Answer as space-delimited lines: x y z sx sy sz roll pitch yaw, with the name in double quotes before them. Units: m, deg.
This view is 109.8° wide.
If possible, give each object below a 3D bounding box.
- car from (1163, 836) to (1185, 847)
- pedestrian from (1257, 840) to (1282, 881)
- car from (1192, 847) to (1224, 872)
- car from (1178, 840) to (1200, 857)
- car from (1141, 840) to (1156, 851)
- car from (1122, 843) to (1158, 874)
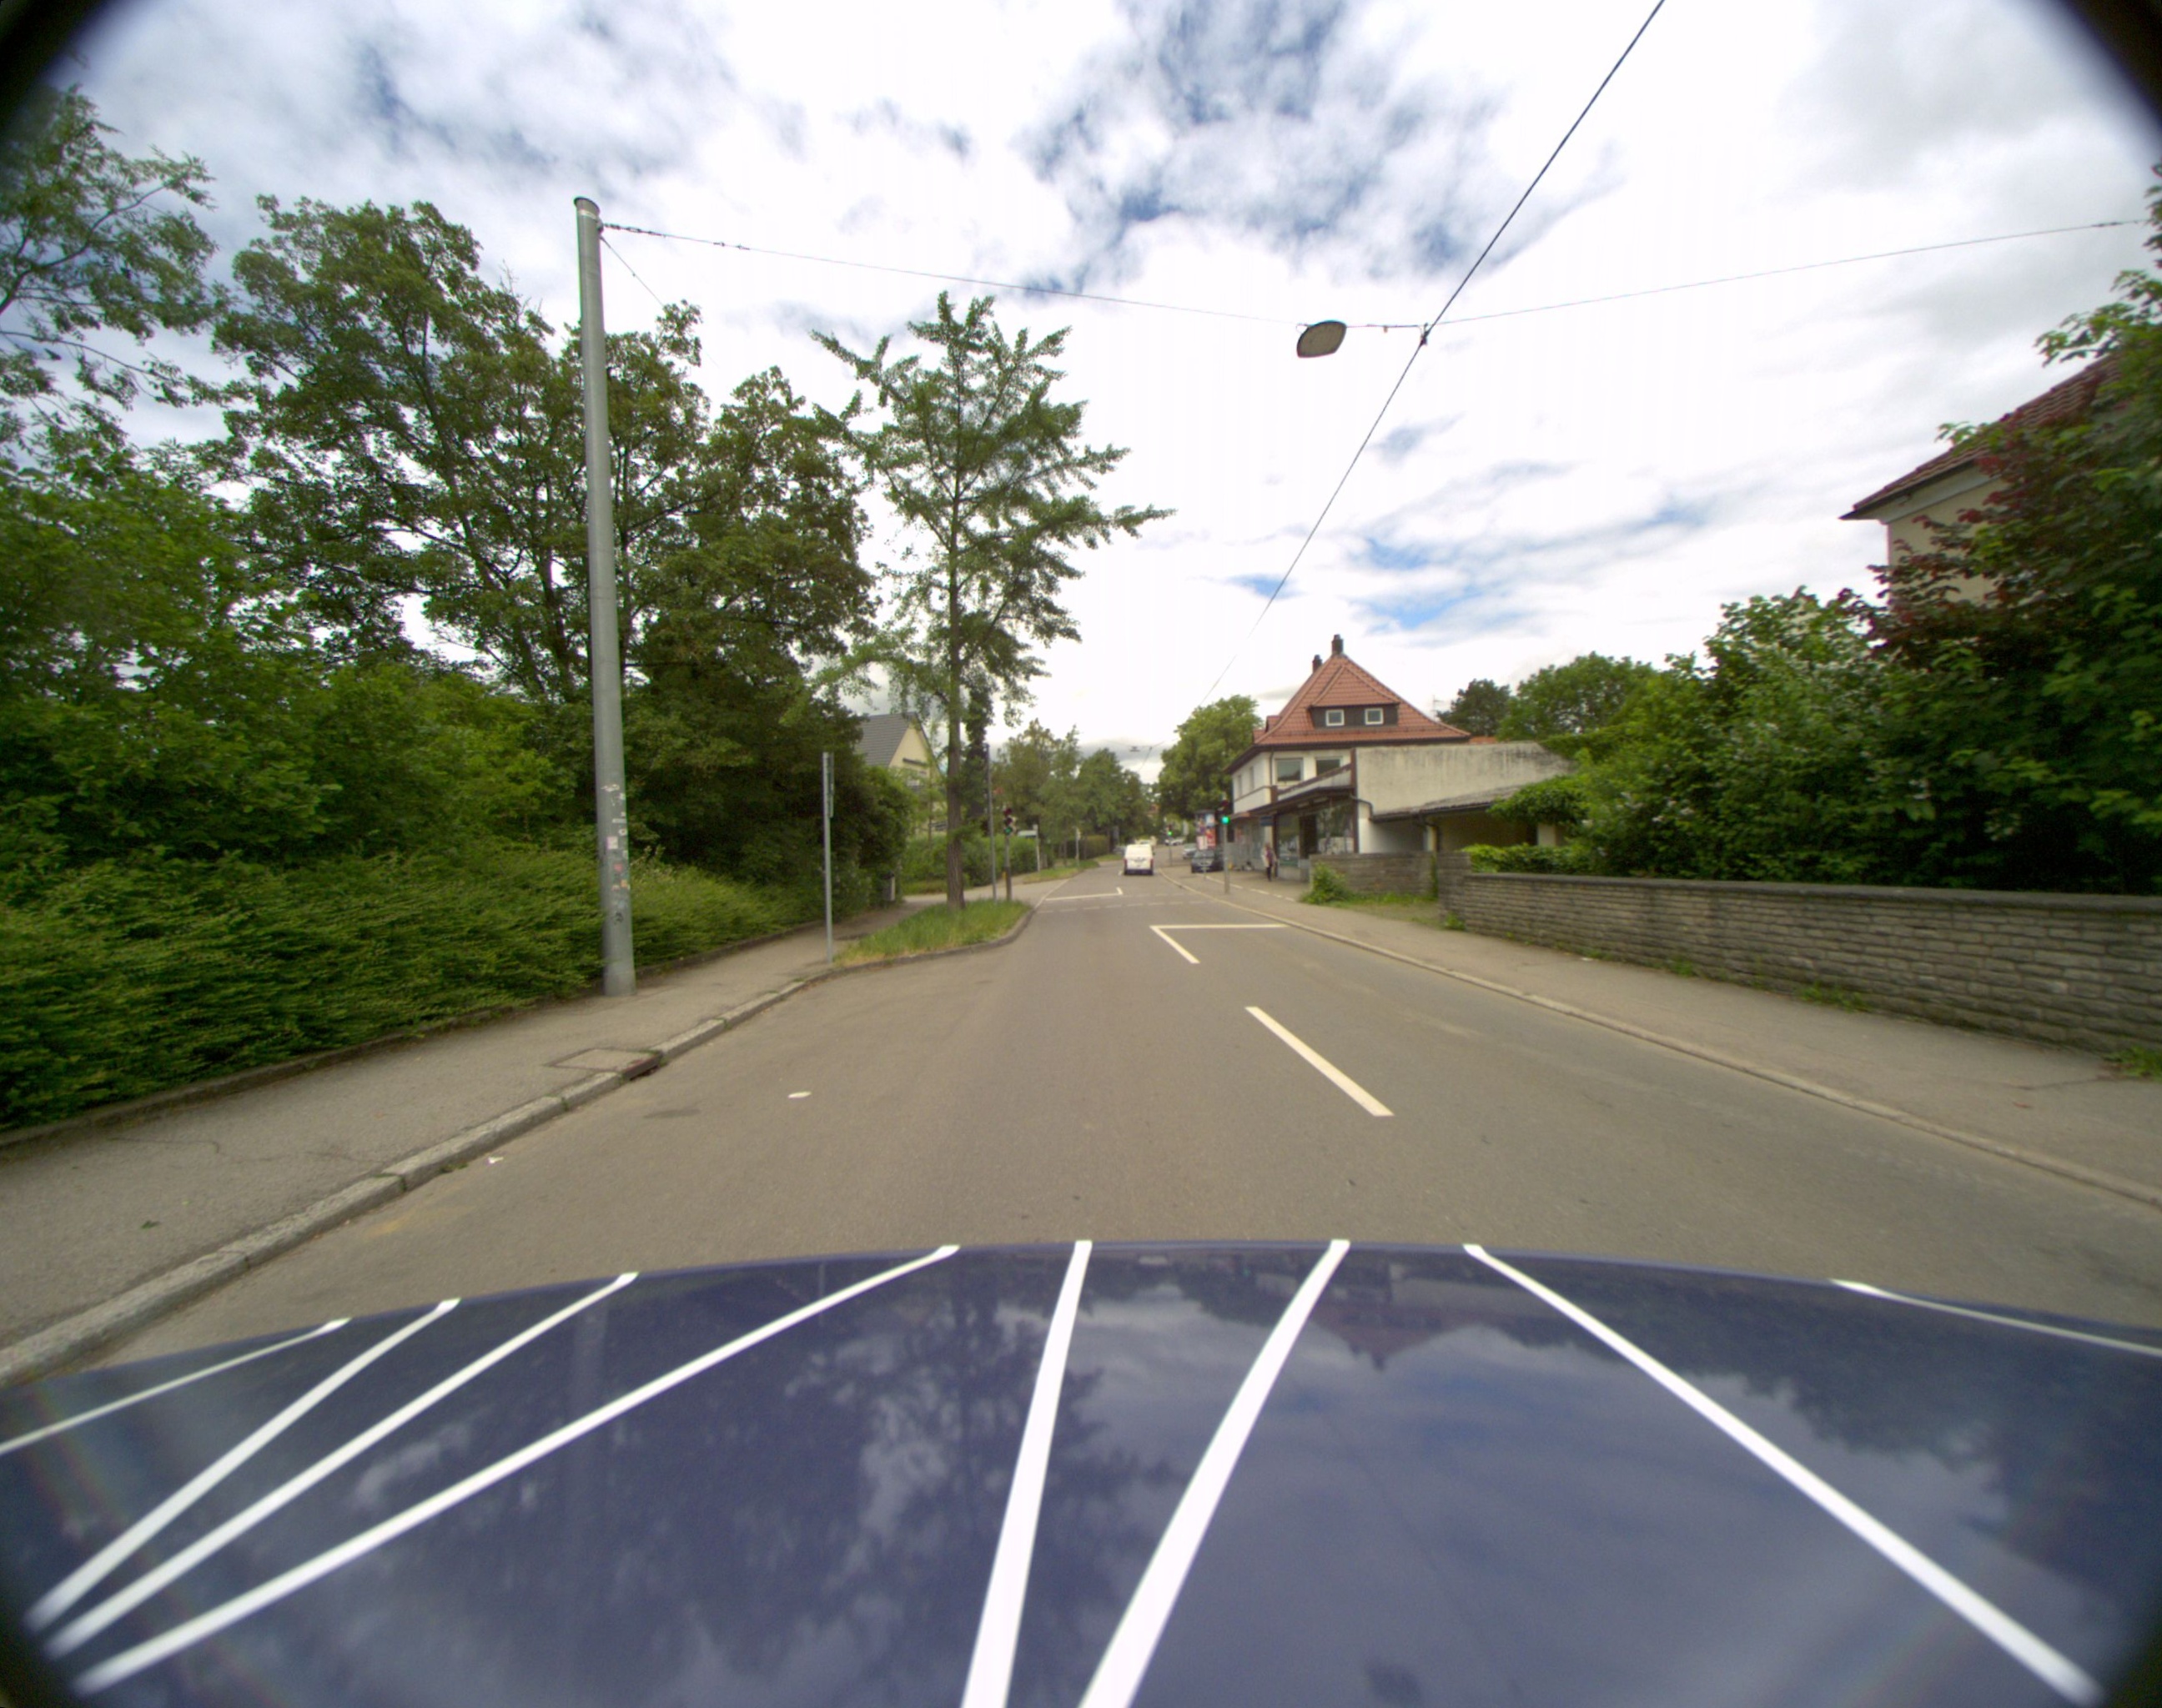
"car" 18.081 -2.426 147.661 3.993 1.729 2.001 -3 1 13
"pedestrian" 8.212 0.283 33.119 0.822 1.735 0.604 -4 2 1
"car" 7.970 0.318 47.633 1.822 1.344 3.393 -3 1 11
"car" 11.600 -0.645 81.683 1.771 1.668 3.999 -4 1 0
"car" 10.770 -1.370 121.666 1.998 1.687 3.999 -4 1 0
"car" 3.792 0.238 49.614 1.885 1.905 4.832 -2 1 0
